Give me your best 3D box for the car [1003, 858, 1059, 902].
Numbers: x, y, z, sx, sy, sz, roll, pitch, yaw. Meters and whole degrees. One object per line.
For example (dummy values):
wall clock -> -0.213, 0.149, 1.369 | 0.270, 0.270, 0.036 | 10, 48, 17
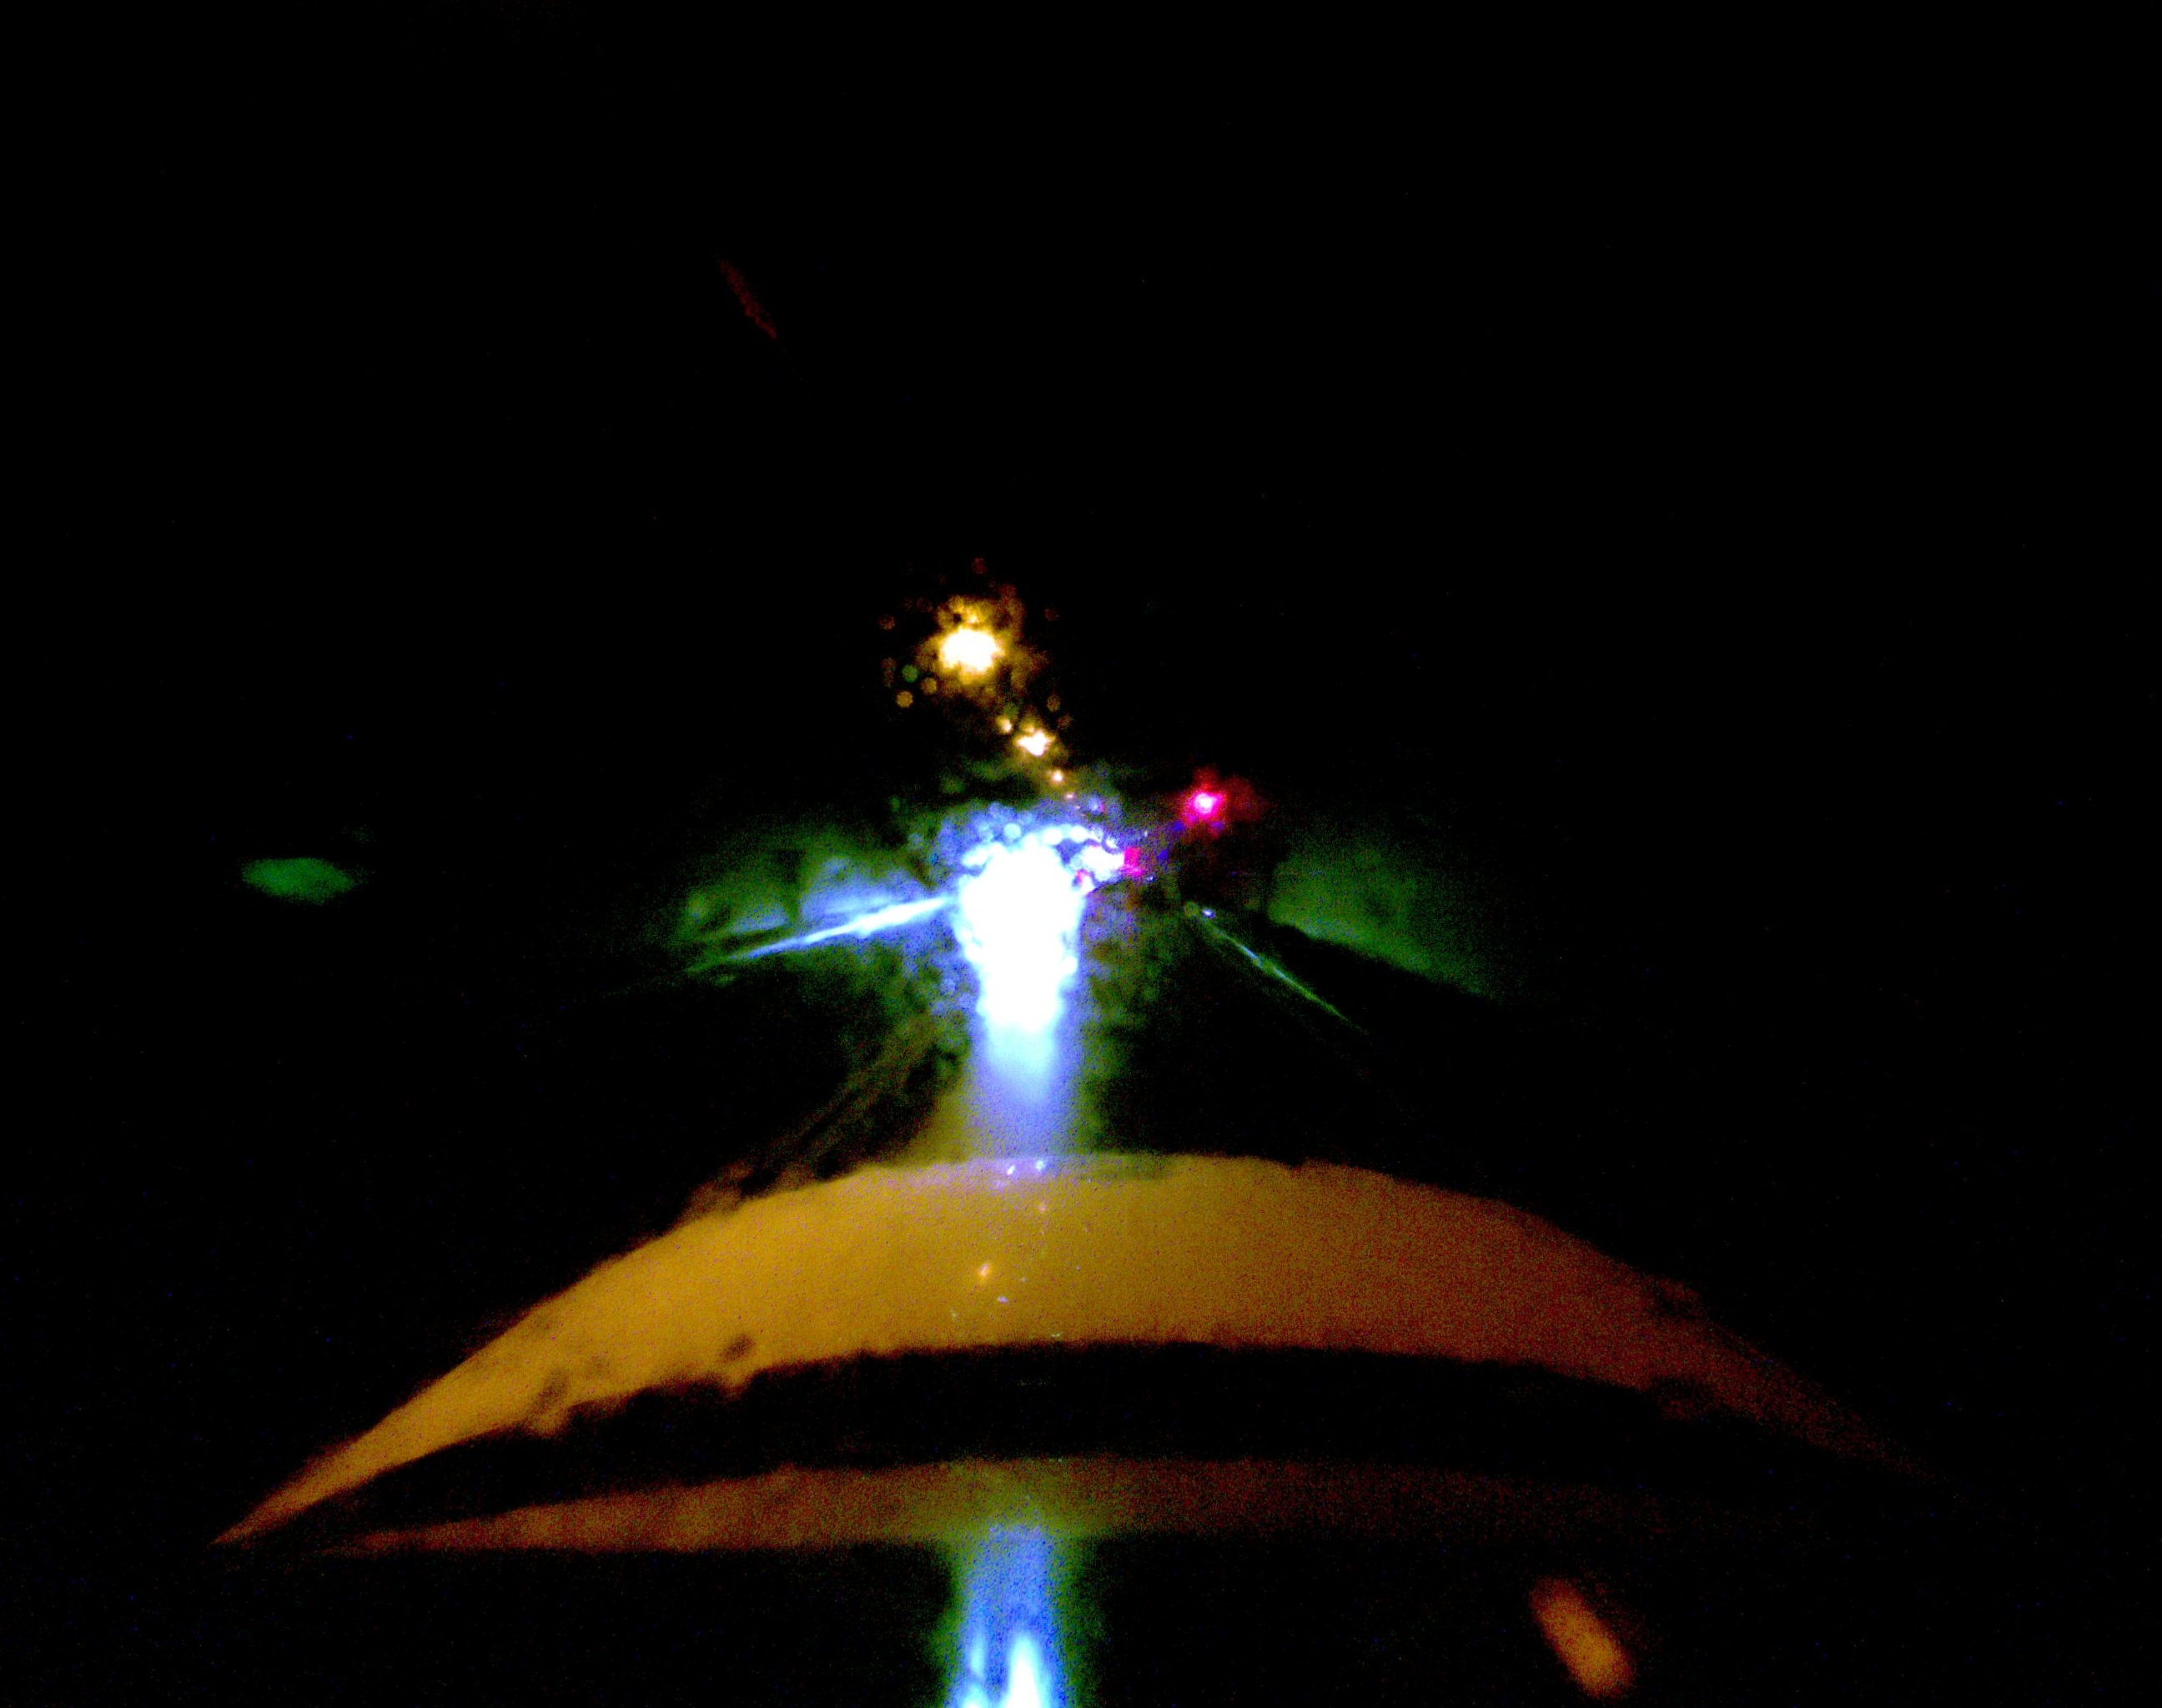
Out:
car -> -1.847, 0.955, 31.351 | 1.750, 1.528, 3.816 | 2, 0, 2

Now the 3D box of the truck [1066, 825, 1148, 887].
truck -> 1.325, 0.111, 40.127 | 3.521, 2.693, 8.960 | -1, 0, 2
